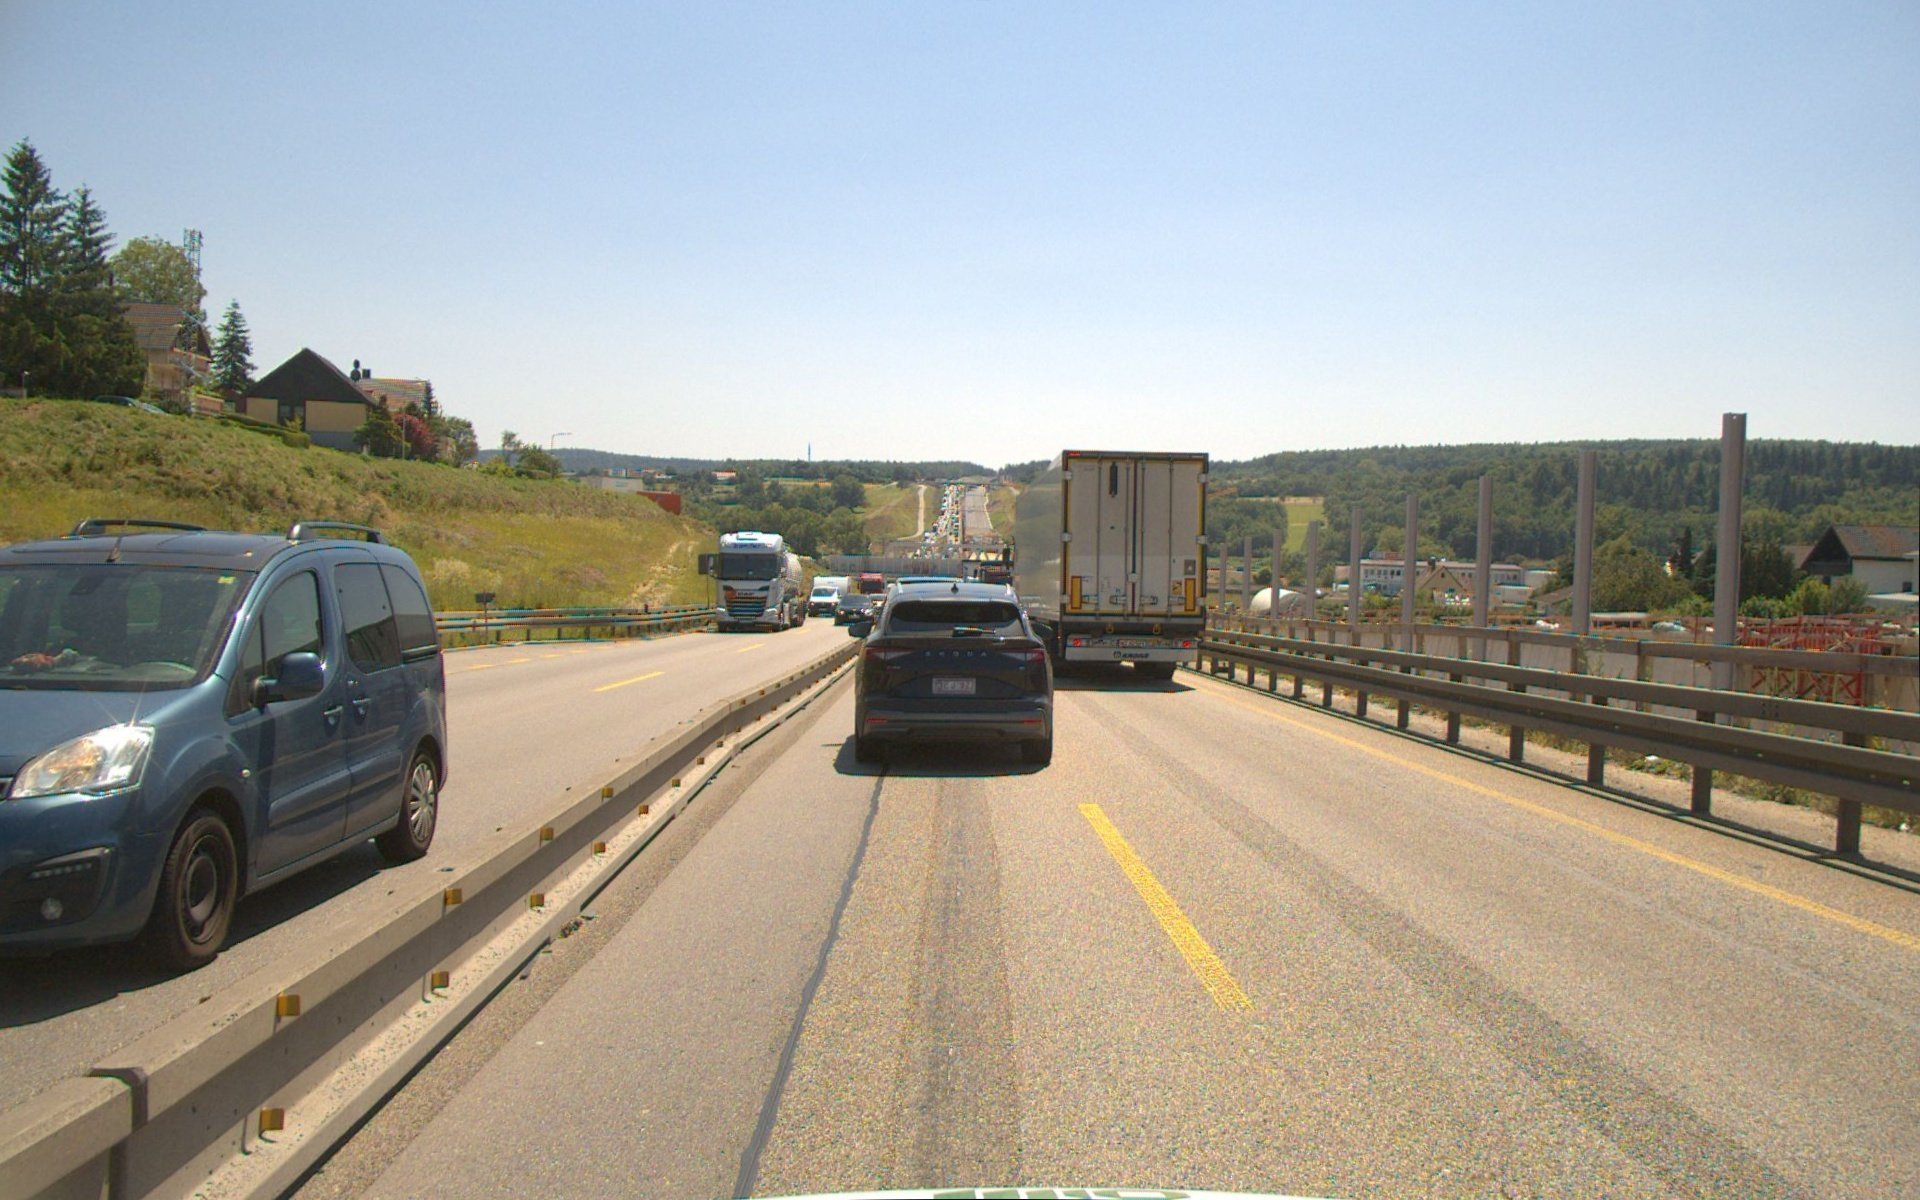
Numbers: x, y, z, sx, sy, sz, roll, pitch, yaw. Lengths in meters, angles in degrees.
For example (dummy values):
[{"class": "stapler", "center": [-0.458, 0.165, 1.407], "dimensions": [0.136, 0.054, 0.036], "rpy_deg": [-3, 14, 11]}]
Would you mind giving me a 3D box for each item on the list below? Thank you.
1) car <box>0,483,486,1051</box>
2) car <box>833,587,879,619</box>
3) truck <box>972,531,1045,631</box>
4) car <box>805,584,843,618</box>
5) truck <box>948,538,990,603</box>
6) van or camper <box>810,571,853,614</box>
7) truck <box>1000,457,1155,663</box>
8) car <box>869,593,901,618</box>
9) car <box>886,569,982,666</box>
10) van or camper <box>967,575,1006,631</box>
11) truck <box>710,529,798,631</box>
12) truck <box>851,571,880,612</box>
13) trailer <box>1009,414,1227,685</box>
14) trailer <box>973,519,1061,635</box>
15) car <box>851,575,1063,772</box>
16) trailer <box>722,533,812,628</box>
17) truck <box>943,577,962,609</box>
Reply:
[{"class": "car", "center": [-3.765, 0.523, 7.682], "dimensions": [1.808, 1.809, 4.881], "rpy_deg": [0, 0, -1]}, {"class": "car", "center": [-4.775, 0.124, 76.572], "dimensions": [1.856, 1.439, 4.679], "rpy_deg": [0, 0, 0]}, {"class": "truck", "center": [2.288, -0.796, 80.999], "dimensions": [3.116, 4.592, 8.163], "rpy_deg": [1, -1, -1]}, {"class": "car", "center": [-8.463, 0.054, 103.000], "dimensions": [1.953, 2.005, 5.342], "rpy_deg": [1, 0, -1]}, {"class": "truck", "center": [0.621, -2.158, 127.590], "dimensions": [2.794, 4.543, 11.913], "rpy_deg": [1, -1, -1]}, {"class": "van or camper", "center": [-8.445, -0.483, 109.605], "dimensions": [2.309, 2.723, 7.856], "rpy_deg": [0, 0, -1]}, {"class": "truck", "center": [2.752, -0.938, 41.447], "dimensions": [3.116, 4.592, 8.164], "rpy_deg": [1, 0, -1]}, {"class": "car", "center": [-4.750, 0.324, 104.733], "dimensions": [1.873, 1.506, 4.635], "rpy_deg": [1, 0, -1]}, {"class": "car", "center": [-0.579, 0.398, 36.339], "dimensions": [1.953, 1.959, 4.506], "rpy_deg": [1, -1, -1]}, {"class": "van or camper", "center": [1.648, 0.230, 101.683], "dimensions": [2.339, 3.338, 6.469], "rpy_deg": [1, -1, 1]}, {"class": "truck", "center": [-7.966, -0.756, 64.567], "dimensions": [2.723, 3.737, 6.275], "rpy_deg": [1, 0, -1]}, {"class": "truck", "center": [-10.526, -0.890, 184.674], "dimensions": [2.794, 4.212, 11.913], "rpy_deg": [1, -1, -1]}, {"class": "trailer", "center": [2.903, -0.918, 34.957], "dimensions": [3.116, 4.592, 13.106], "rpy_deg": [1, 0, -1]}, {"class": "trailer", "center": [2.362, -0.789, 73.892], "dimensions": [3.116, 4.592, 14.962], "rpy_deg": [1, -1, -1]}, {"class": "car", "center": [-0.030, 0.636, 15.926], "dimensions": [1.765, 1.636, 3.999], "rpy_deg": [1, 0, 0]}, {"class": "trailer", "center": [-8.082, -0.791, 70.623], "dimensions": [2.661, 3.657, 11.791], "rpy_deg": [1, 0, -1]}, {"class": "truck", "center": [-1.077, -0.899, 231.513], "dimensions": [2.586, 4.267, 9.281], "rpy_deg": [1, -1, -1]}]
